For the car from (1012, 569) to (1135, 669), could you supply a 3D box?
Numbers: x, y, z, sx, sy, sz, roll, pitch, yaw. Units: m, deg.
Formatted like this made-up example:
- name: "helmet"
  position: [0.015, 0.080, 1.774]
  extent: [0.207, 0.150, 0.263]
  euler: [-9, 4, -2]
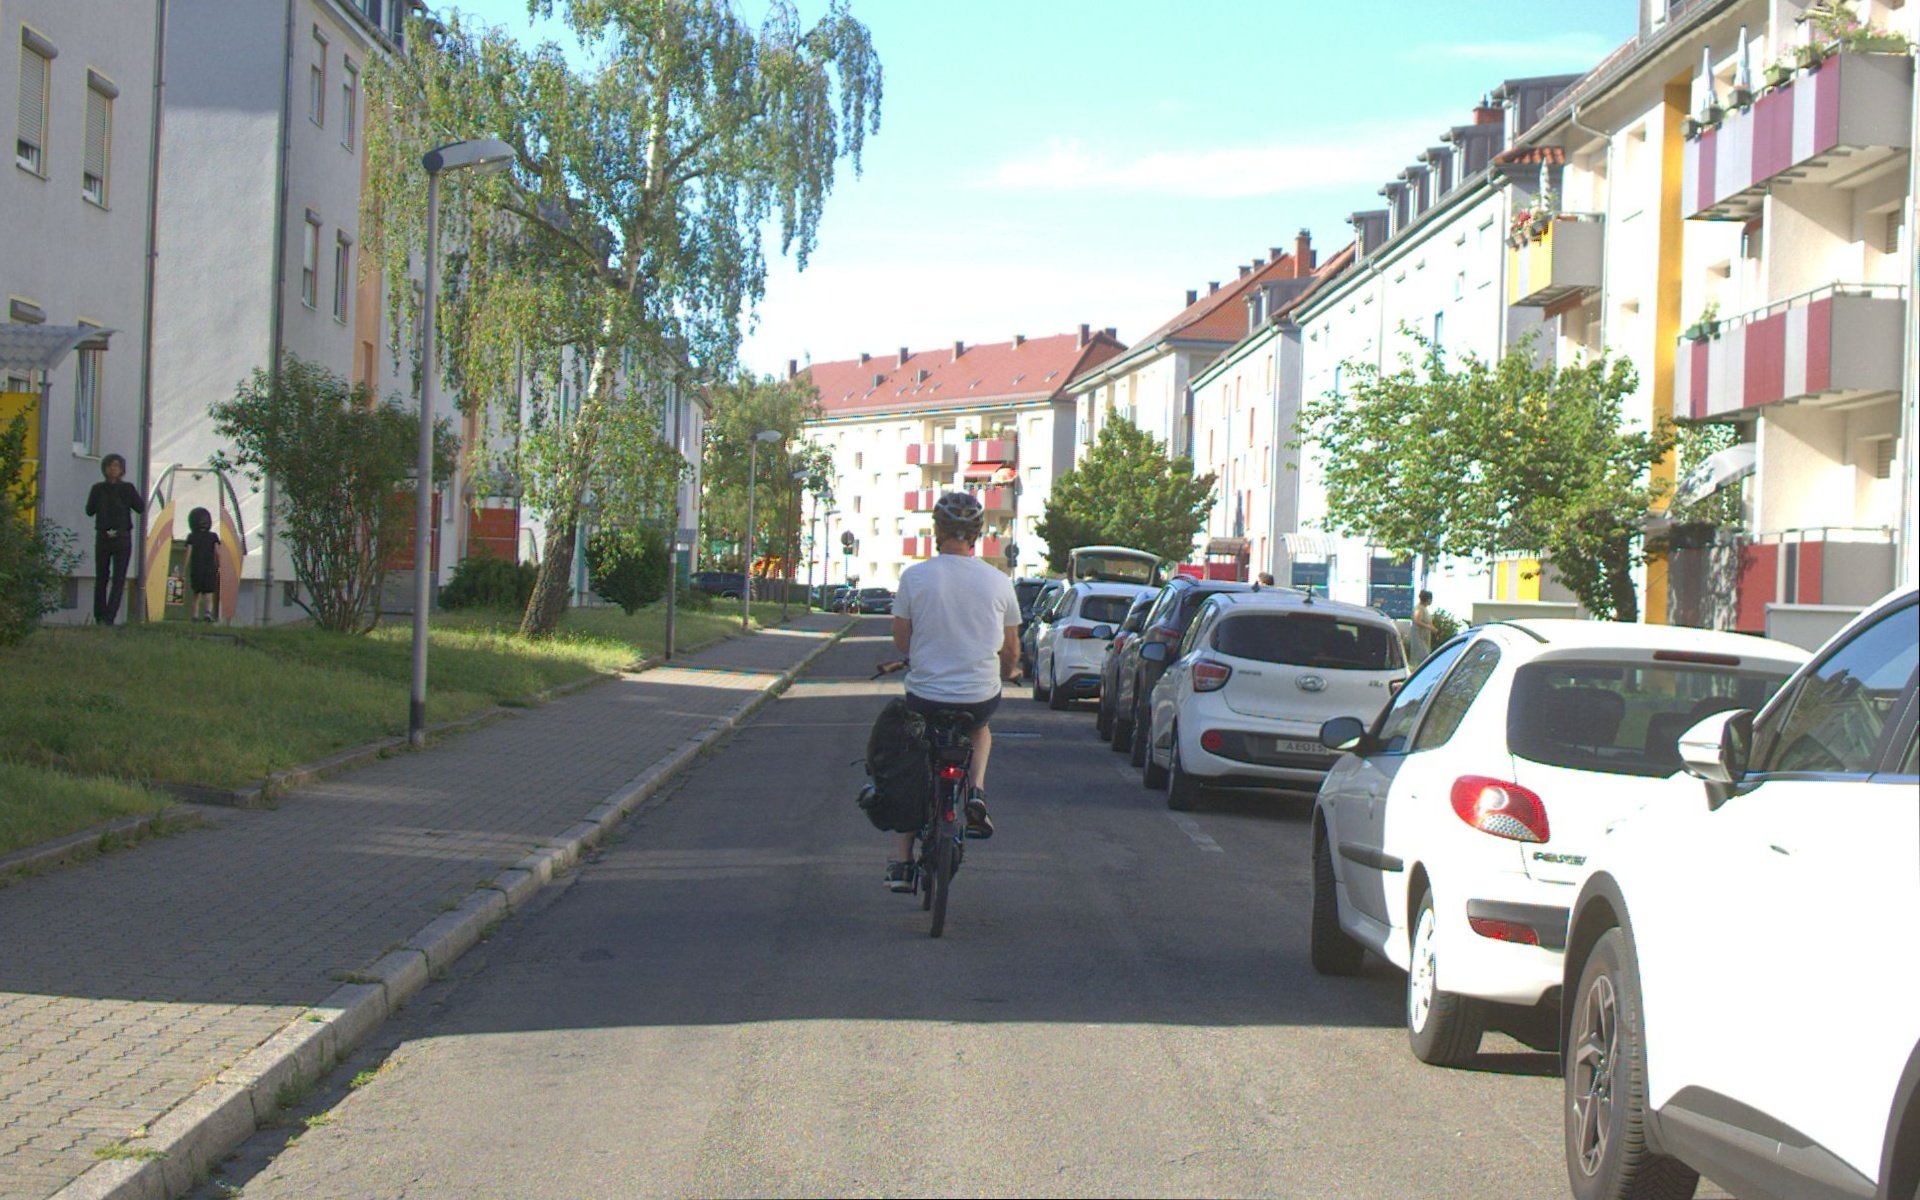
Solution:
- name: "car"
  position: [1.855, 0.302, 57.354]
  extent: [1.806, 1.545, 4.000]
  euler: [2, 0, -1]

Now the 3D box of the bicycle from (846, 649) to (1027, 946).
- name: "bicycle"
  position: [-0.098, 0.800, 14.593]
  extent: [0.660, 1.123, 1.766]
  euler: [3, 0, 0]

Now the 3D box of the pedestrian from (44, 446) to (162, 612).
- name: "pedestrian"
  position: [-9.134, -0.745, 36.671]
  extent: [0.970, 1.709, 0.947]
  euler: [2, 0, -1]

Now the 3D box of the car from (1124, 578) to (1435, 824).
- name: "car"
  position: [2.165, 0.647, 24.180]
  extent: [1.631, 1.486, 3.623]
  euler: [4, 0, -2]

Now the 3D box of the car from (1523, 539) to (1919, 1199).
- name: "car"
  position: [2.490, 0.729, 6.537]
  extent: [1.983, 1.586, 4.125]
  euler: [2, 0, -2]

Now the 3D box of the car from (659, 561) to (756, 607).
- name: "car"
  position: [-10.722, -0.679, 146.359]
  extent: [3.986, 1.795, 2.000]
  euler: [2, 0, -2]

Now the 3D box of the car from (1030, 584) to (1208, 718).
- name: "car"
  position: [1.901, 0.588, 42.223]
  extent: [1.894, 1.491, 4.092]
  euler: [2, 0, -1]

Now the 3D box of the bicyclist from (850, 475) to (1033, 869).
- name: "bicyclist"
  position: [-0.076, 0.296, 14.511]
  extent: [0.694, 1.591, 0.791]
  euler: [2, 0, 0]

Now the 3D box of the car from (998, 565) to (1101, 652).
- name: "car"
  position: [1.741, 0.153, 68.147]
  extent: [1.806, 1.599, 4.404]
  euler: [2, 0, -1]

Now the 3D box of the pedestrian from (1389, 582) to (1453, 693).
- name: "pedestrian"
  position: [7.120, 0.579, 53.064]
  extent: [0.713, 1.672, 0.792]
  euler: [2, 0, 27]

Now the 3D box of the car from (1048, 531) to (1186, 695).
- name: "car"
  position: [2.155, 0.162, 48.059]
  extent: [1.619, 2.136, 4.000]
  euler: [2, 0, -1]

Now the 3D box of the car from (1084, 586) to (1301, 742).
- name: "car"
  position: [2.297, 0.605, 34.841]
  extent: [1.835, 1.430, 3.752]
  euler: [2, 0, -1]

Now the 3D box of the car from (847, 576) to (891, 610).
- name: "car"
  position: [-4.462, -0.347, 167.869]
  extent: [1.993, 1.570, 4.001]
  euler: [2, 0, -4]

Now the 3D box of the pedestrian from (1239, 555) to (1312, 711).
- name: "pedestrian"
  position: [4.148, 0.430, 45.298]
  extent: [0.791, 2.007, 1.082]
  euler: [2, 0, -1]

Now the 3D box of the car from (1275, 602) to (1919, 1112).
- name: "car"
  position: [2.242, 0.776, 12.055]
  extent: [1.757, 1.427, 3.629]
  euler: [3, 0, -2]

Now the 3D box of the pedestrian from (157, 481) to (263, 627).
- name: "pedestrian"
  position: [-8.063, -0.493, 36.994]
  extent: [0.863, 1.516, 1.068]
  euler: [2, 0, -1]

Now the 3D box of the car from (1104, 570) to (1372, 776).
- name: "car"
  position: [2.277, 0.570, 29.123]
  extent: [1.835, 1.552, 4.000]
  euler: [2, 0, -1]

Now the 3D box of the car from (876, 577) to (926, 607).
- name: "car"
  position: [-3.353, -0.459, 194.826]
  extent: [1.993, 1.570, 4.001]
  euler: [2, 0, -13]

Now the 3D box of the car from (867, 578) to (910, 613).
- name: "car"
  position: [-3.401, -0.232, 162.252]
  extent: [1.756, 1.570, 3.904]
  euler: [2, 0, -5]

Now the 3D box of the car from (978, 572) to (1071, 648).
- name: "car"
  position: [1.343, 0.196, 73.084]
  extent: [1.806, 1.493, 4.200]
  euler: [2, 0, -1]
